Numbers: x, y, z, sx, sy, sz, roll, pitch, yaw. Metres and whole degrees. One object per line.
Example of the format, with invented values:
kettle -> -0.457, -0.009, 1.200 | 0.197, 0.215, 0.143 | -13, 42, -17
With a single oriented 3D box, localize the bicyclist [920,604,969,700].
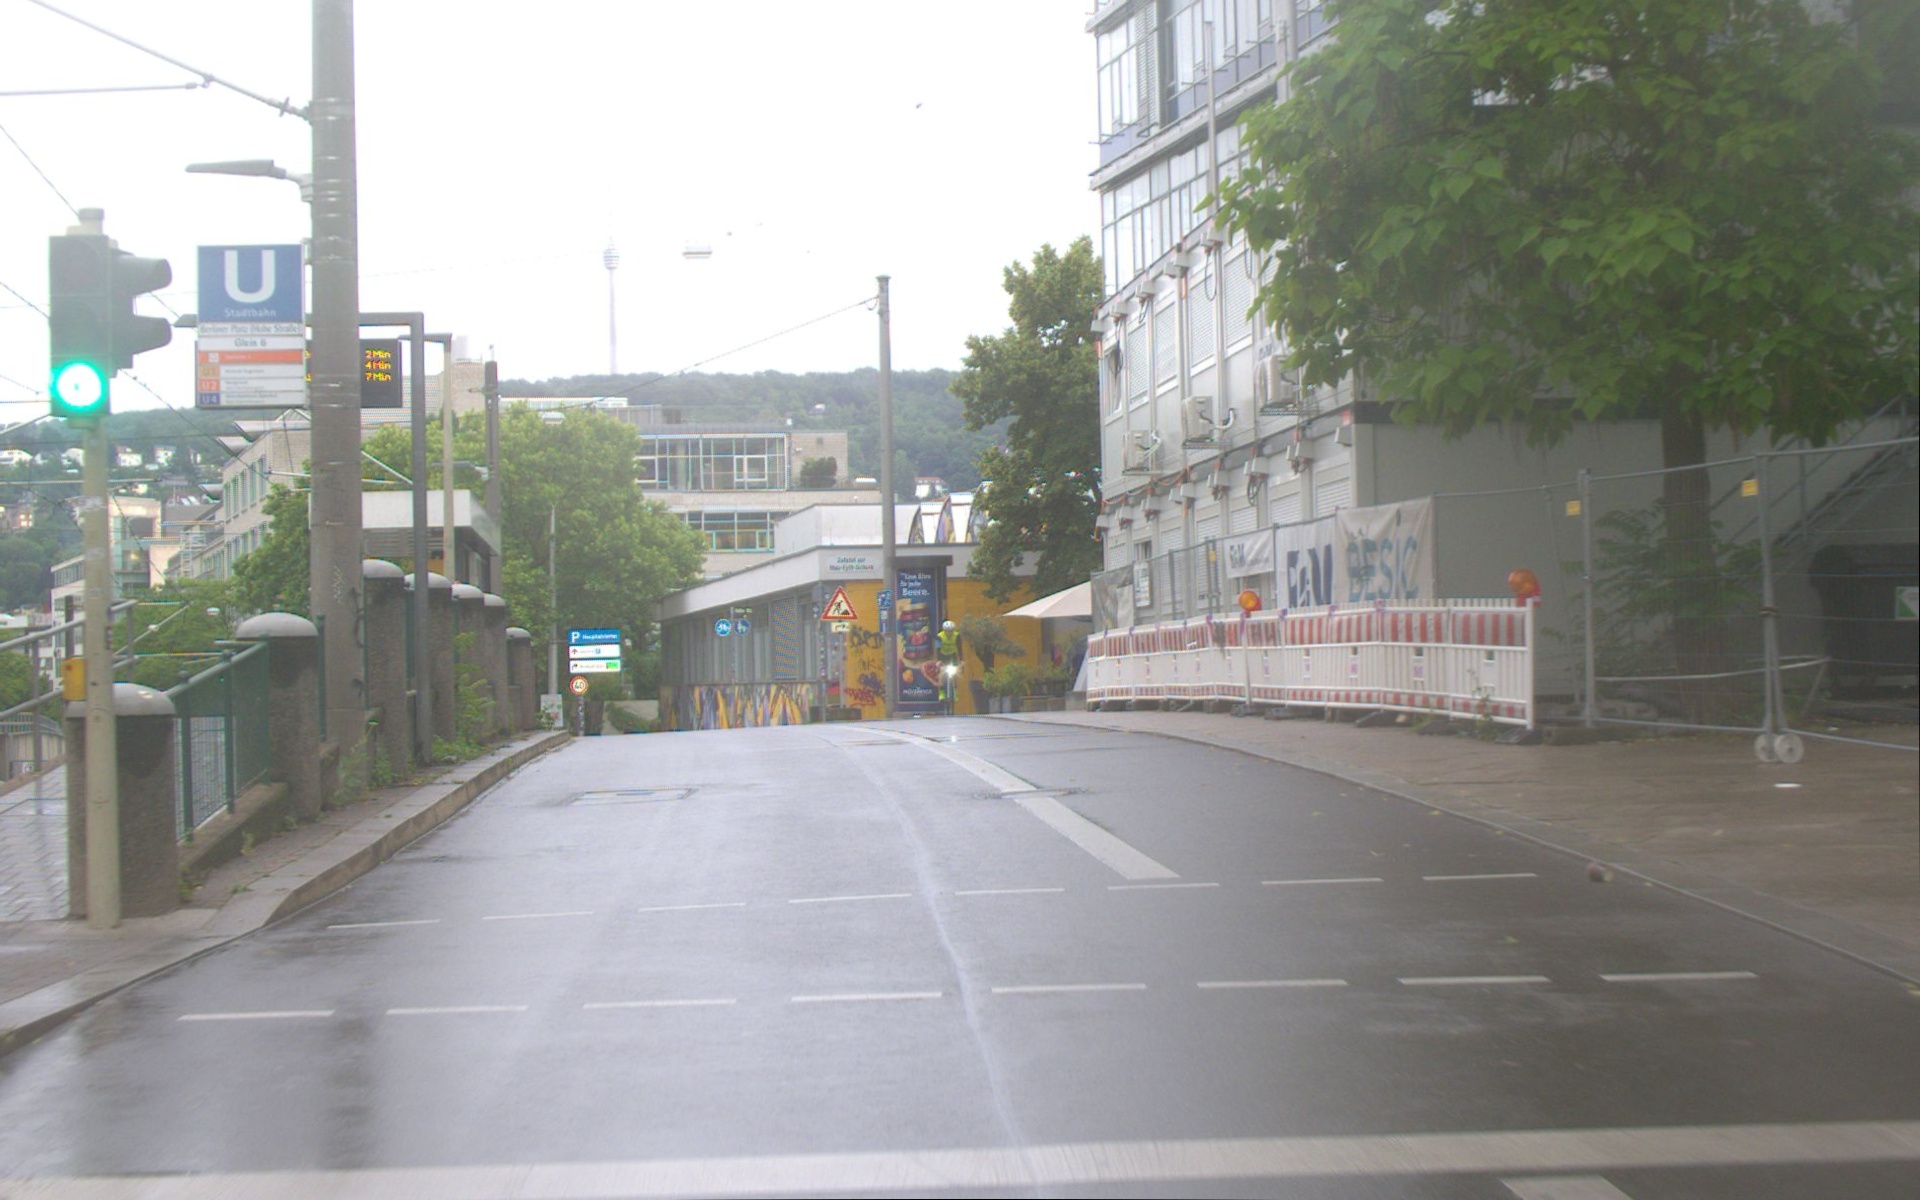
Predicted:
bicyclist -> -0.279, 0.922, 61.188 | 0.661, 1.633, 0.793 | -6, -2, -5

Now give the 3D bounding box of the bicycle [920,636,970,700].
bicycle -> -0.277, 1.216, 61.246 | 0.661, 1.049, 2.057 | -6, -1, -4
